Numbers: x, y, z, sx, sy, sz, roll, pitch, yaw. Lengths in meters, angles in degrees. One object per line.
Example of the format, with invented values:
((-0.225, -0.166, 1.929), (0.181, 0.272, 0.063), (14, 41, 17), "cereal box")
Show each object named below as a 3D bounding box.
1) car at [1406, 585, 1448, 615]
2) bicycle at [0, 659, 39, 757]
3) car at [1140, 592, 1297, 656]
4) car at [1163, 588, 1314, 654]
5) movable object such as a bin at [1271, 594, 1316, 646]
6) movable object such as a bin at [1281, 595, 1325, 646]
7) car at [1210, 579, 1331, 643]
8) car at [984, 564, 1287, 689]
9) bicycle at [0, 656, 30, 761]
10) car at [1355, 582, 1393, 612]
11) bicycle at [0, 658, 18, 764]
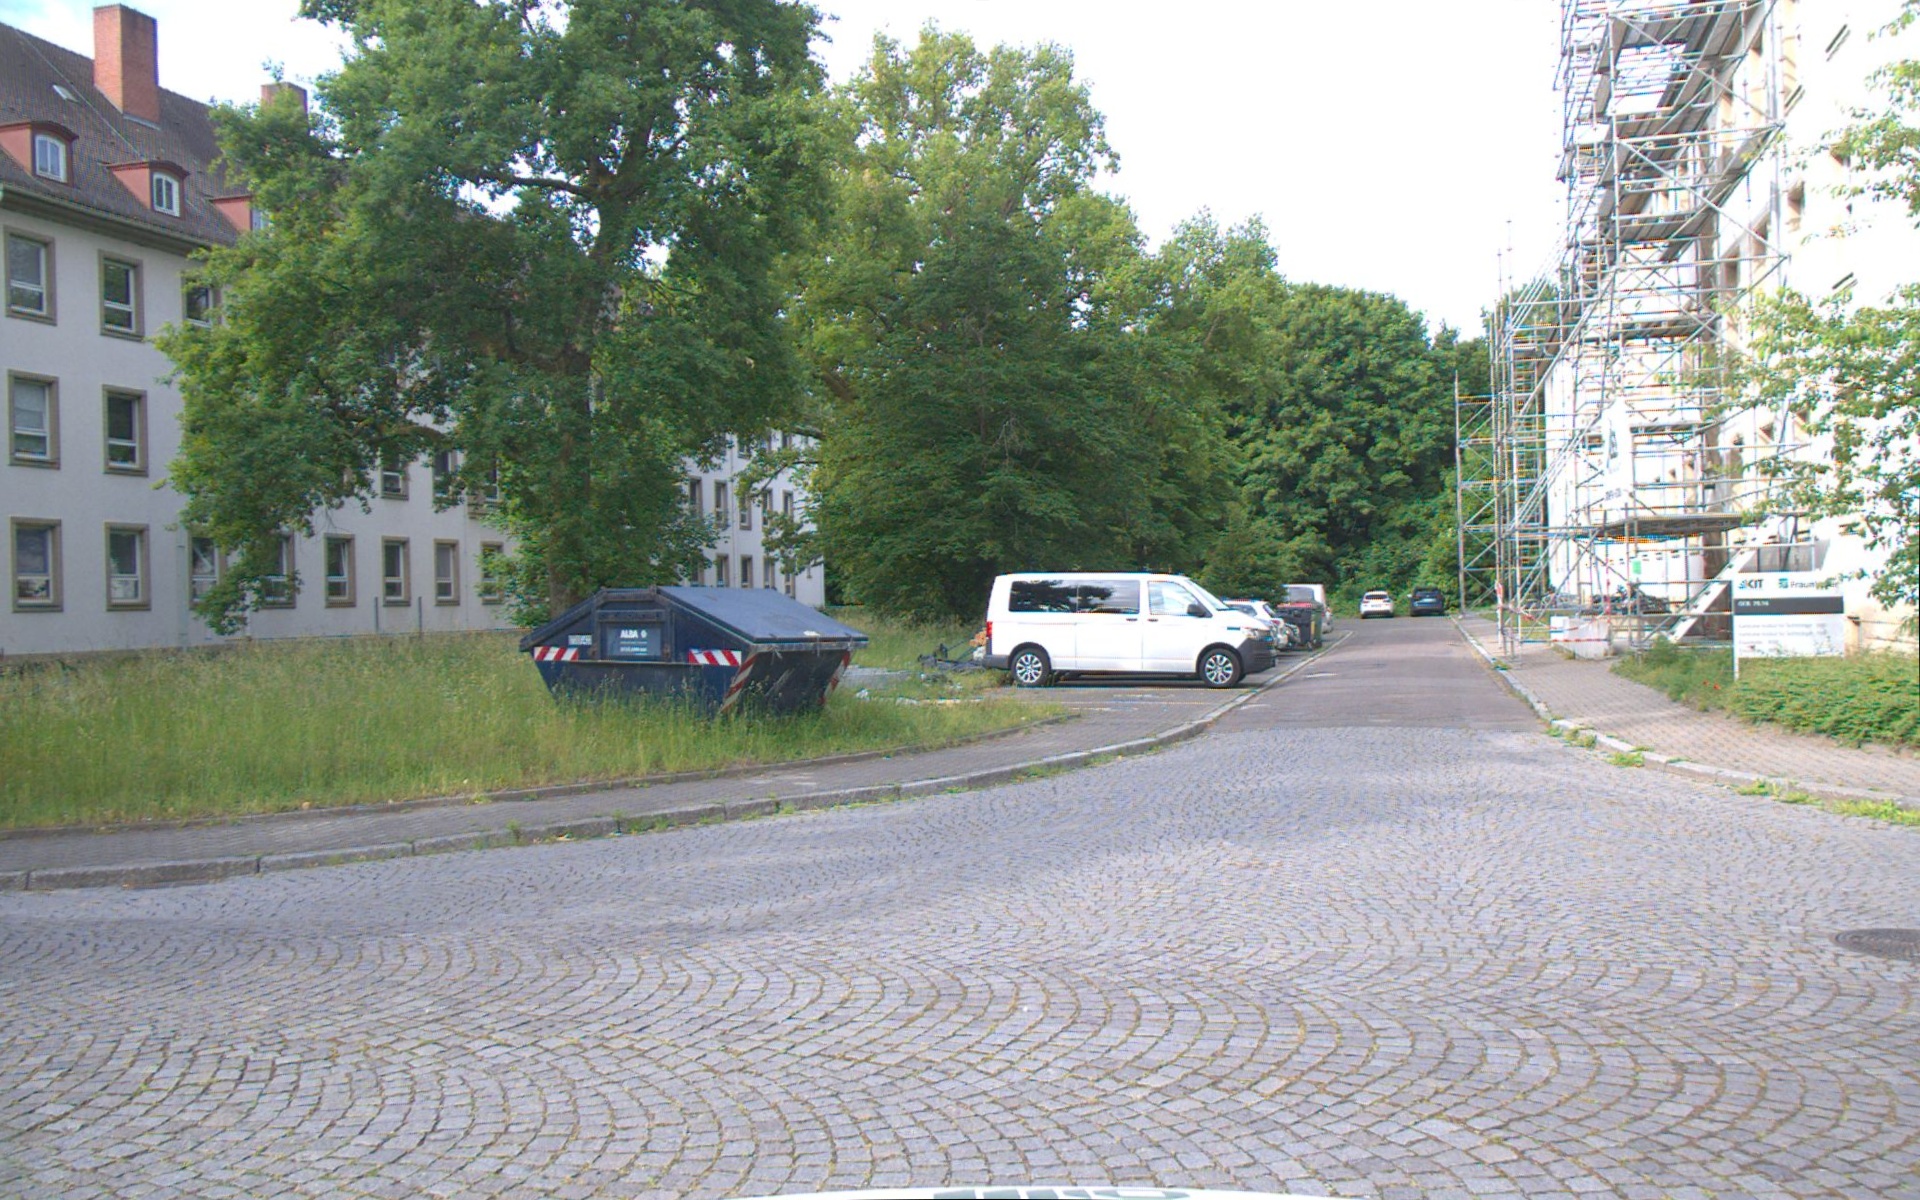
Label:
((25.886, 0.012, 91.577), (2.020, 1.621, 4.001), (1, 0, 19), "car")
((-11.611, 1.275, 19.077), (1.584, 1.077, 0.526), (-3, 2, -3), "bicycle")
((6.522, 0.584, 41.695), (3.555, 1.507, 1.820), (1, 0, 24), "car")
((7.376, 0.544, 43.761), (3.607, 1.620, 1.764), (1, 0, 23), "car")
((9.477, 0.574, 46.954), (1.159, 1.432, 0.976), (1, 0, 17), "movable object such as a bin")
((9.974, 0.586, 48.066), (1.159, 1.432, 0.976), (1, 0, 17), "movable object such as a bin")
((10.489, 0.353, 55.826), (3.902, 2.049, 1.923), (1, 0, 12), "car")
((3.162, 0.471, 29.531), (5.090, 2.096, 2.190), (0, -1, 15), "car")
((-11.446, 1.254, 18.529), (1.663, 1.135, 0.541), (-3, 2, -3), "bicycle")
((23.136, -0.143, 92.474), (1.959, 1.575, 3.961), (1, 0, 13), "car")
((-11.312, 1.259, 17.985), (1.736, 1.124, 0.541), (-3, 2, -3), "bicycle")
